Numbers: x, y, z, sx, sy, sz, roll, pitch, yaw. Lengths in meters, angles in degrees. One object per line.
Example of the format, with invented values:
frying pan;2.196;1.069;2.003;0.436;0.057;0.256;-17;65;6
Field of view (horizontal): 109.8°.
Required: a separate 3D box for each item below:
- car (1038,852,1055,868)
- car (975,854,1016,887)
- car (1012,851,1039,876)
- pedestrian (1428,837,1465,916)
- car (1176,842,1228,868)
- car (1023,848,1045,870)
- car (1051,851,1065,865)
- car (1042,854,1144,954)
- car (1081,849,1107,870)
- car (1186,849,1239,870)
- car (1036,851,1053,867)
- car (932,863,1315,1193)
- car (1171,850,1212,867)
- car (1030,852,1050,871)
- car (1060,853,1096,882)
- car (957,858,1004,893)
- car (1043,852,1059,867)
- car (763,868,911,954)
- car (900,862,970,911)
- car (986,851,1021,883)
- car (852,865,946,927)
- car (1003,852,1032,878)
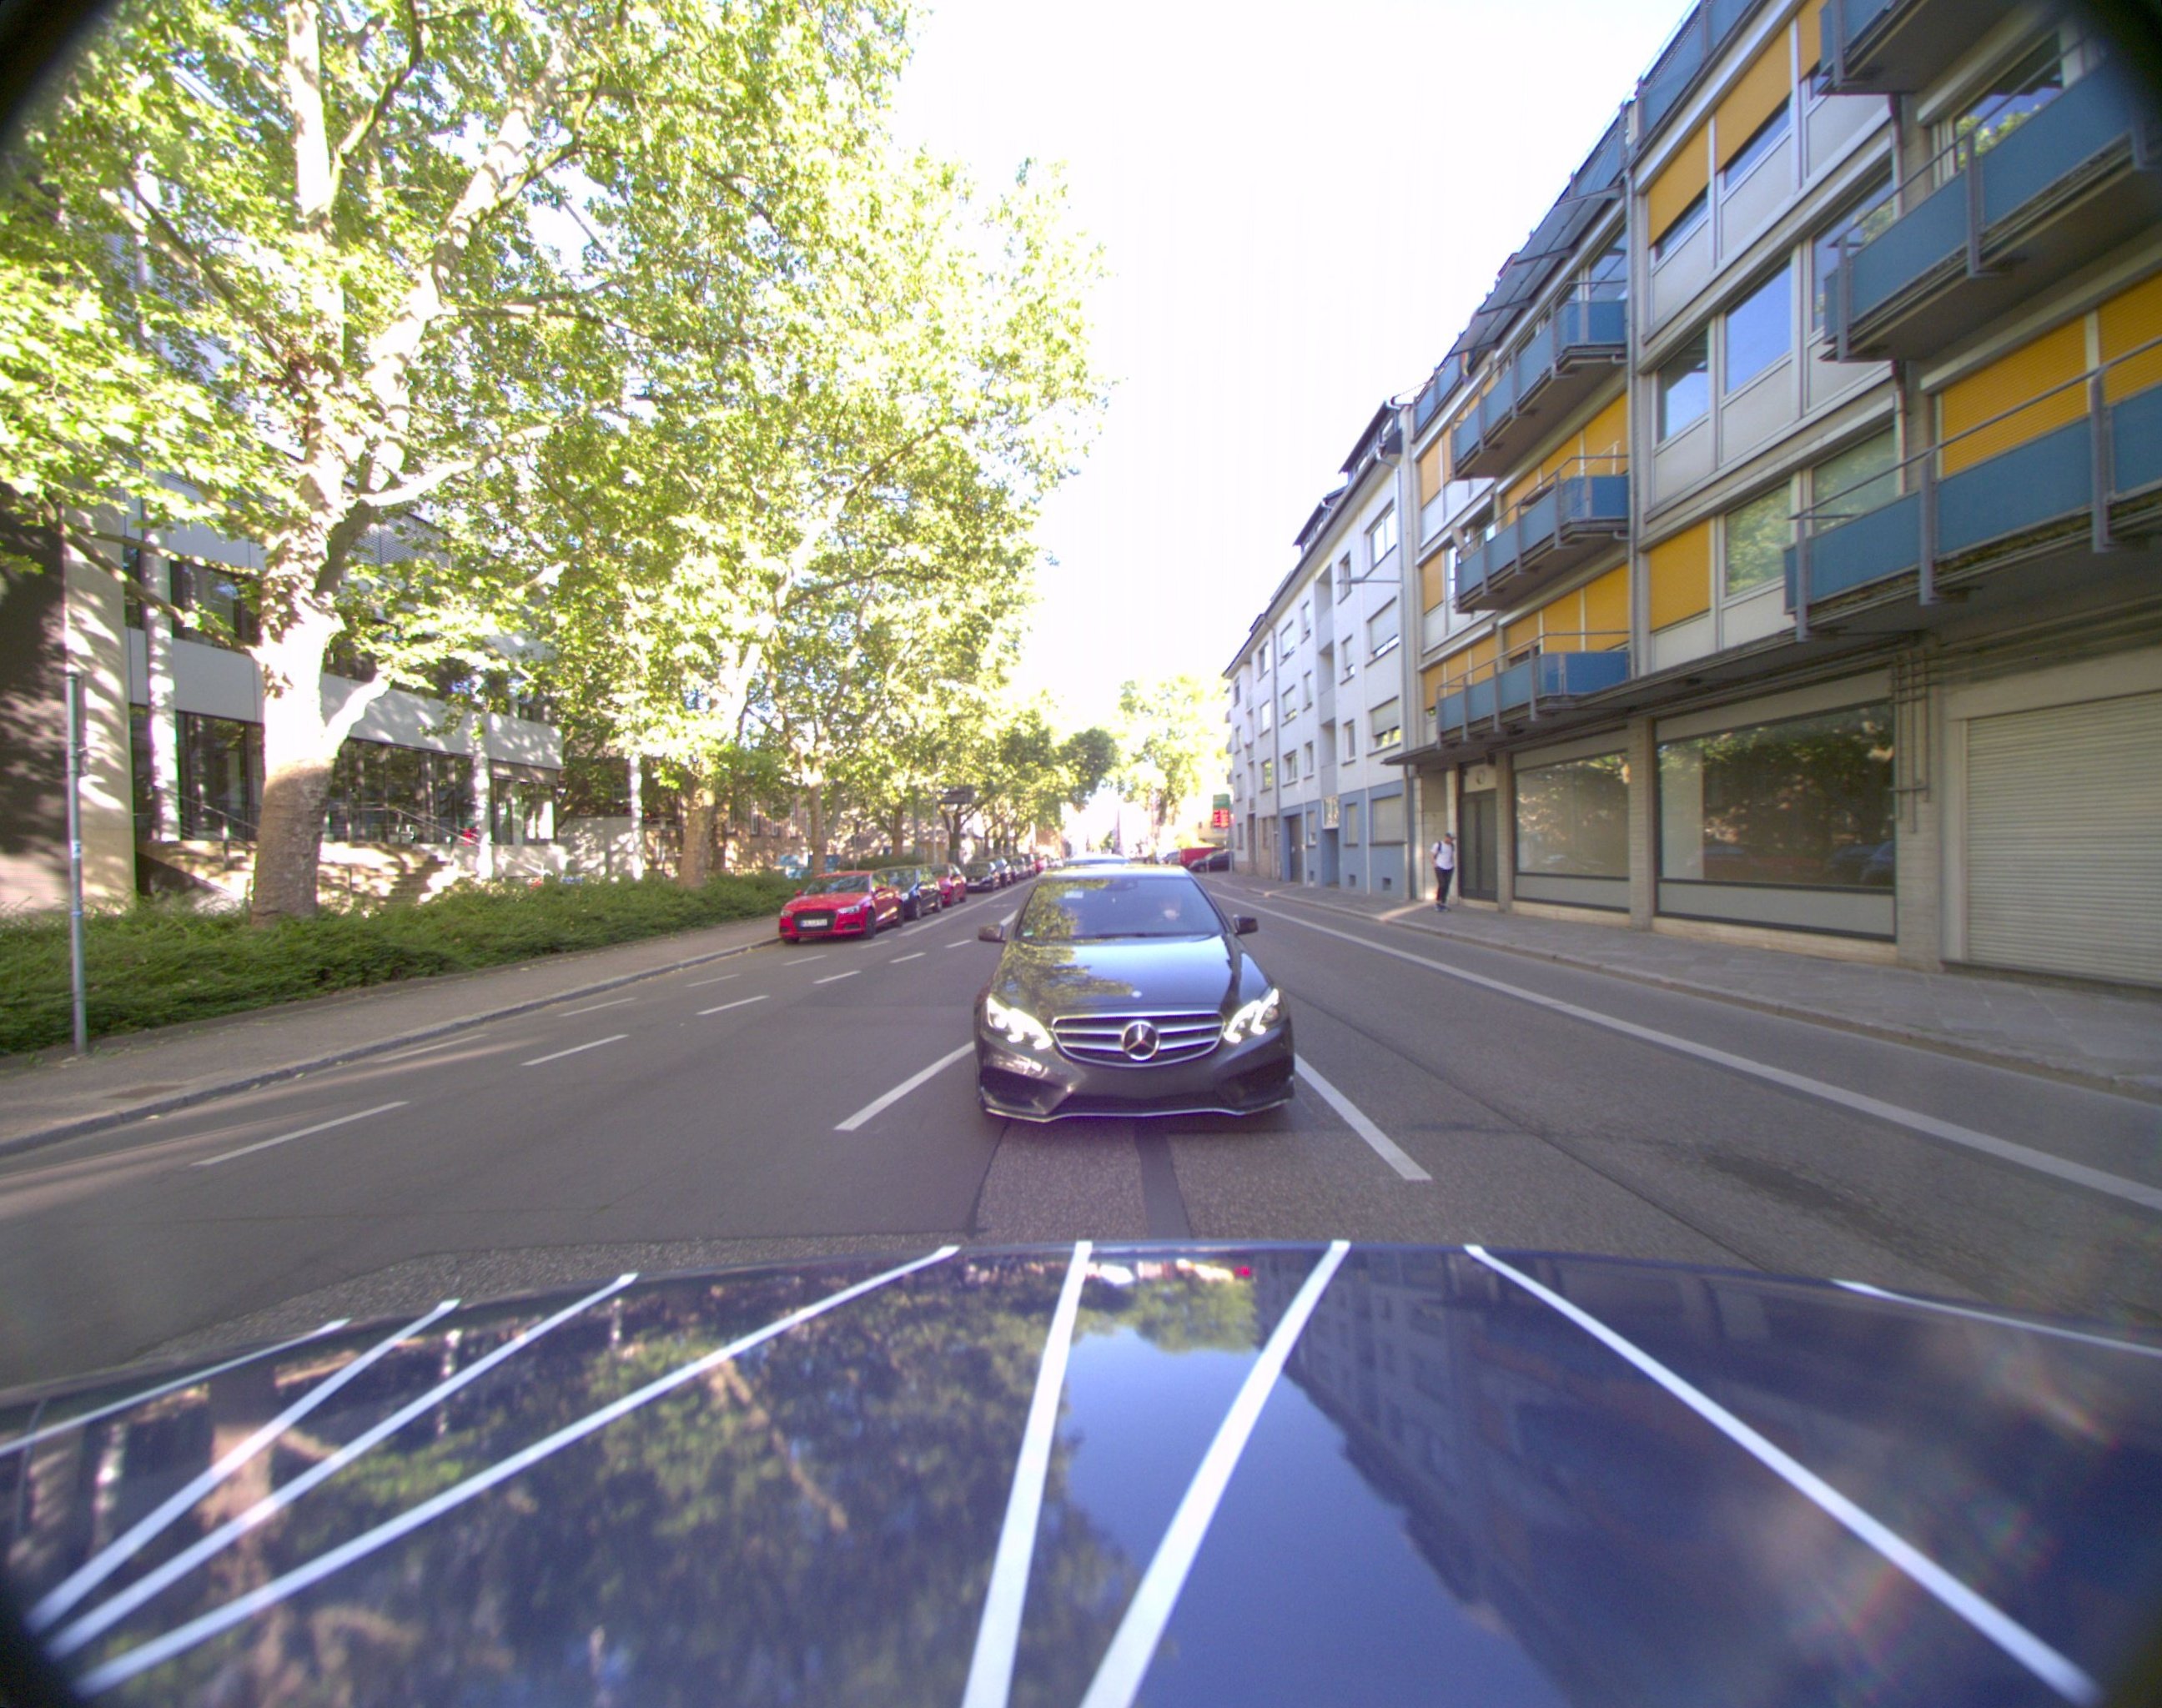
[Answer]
car;-4.015;0.667;89.158;1.635;1.713;3.672;-3;0;1
car;-4.564;0.866;41.026;1.635;1.578;3.845;-3;0;1
car;-4.246;0.689;58.360;1.635;1.799;3.672;-3;0;1
pedestrian;8.143;0.493;16.933;0.569;1.716;0.343;-3;1;0
car;9.983;0.091;62.936;3.928;1.912;1.636;-3;1;0
car;-4.294;0.472;69.323;1.635;1.878;3.672;-3;0;1
car;-3.209;0.534;105.718;1.635;1.713;3.672;-3;0;1
car;0.234;0.855;15.133;1.680;1.622;4.125;-3;0;1
car;0.951;0.407;57.729;1.829;1.455;4.098;-3;0;1
car;9.958;0.418;57.641;3.670;1.403;1.636;-3;1;0
car;-4.091;0.553;84.994;1.635;1.713;3.672;-3;0;1
car;0.232;0.881;5.780;1.804;1.455;4.125;-3;0;1
car;9.544;0.365;65.532;3.325;1.241;1.295;-3;1;0
car;-3.959;0.662;73.848;1.635;1.713;3.672;-3;0;1
car;-0.116;0.714;42.615;1.853;1.455;4.098;-3;0;1
car;-4.721;1.001;36.220;1.635;1.455;3.740;-3;0;1
car;-3.737;0.693;94.968;1.635;1.713;3.672;-3;0;1
car;-5.148;1.136;16.642;1.804;1.455;4.125;-3;0;1
car;-5.031;1.076;26.622;1.635;1.455;3.740;-3;0;1
car;-4.710;0.745;46.889;1.635;1.795;3.845;-3;0;1
car;-5.019;1.106;21.464;1.635;1.455;3.740;-3;0;1
car;-4.428;0.760;53.632;1.635;1.644;3.845;-3;0;1
